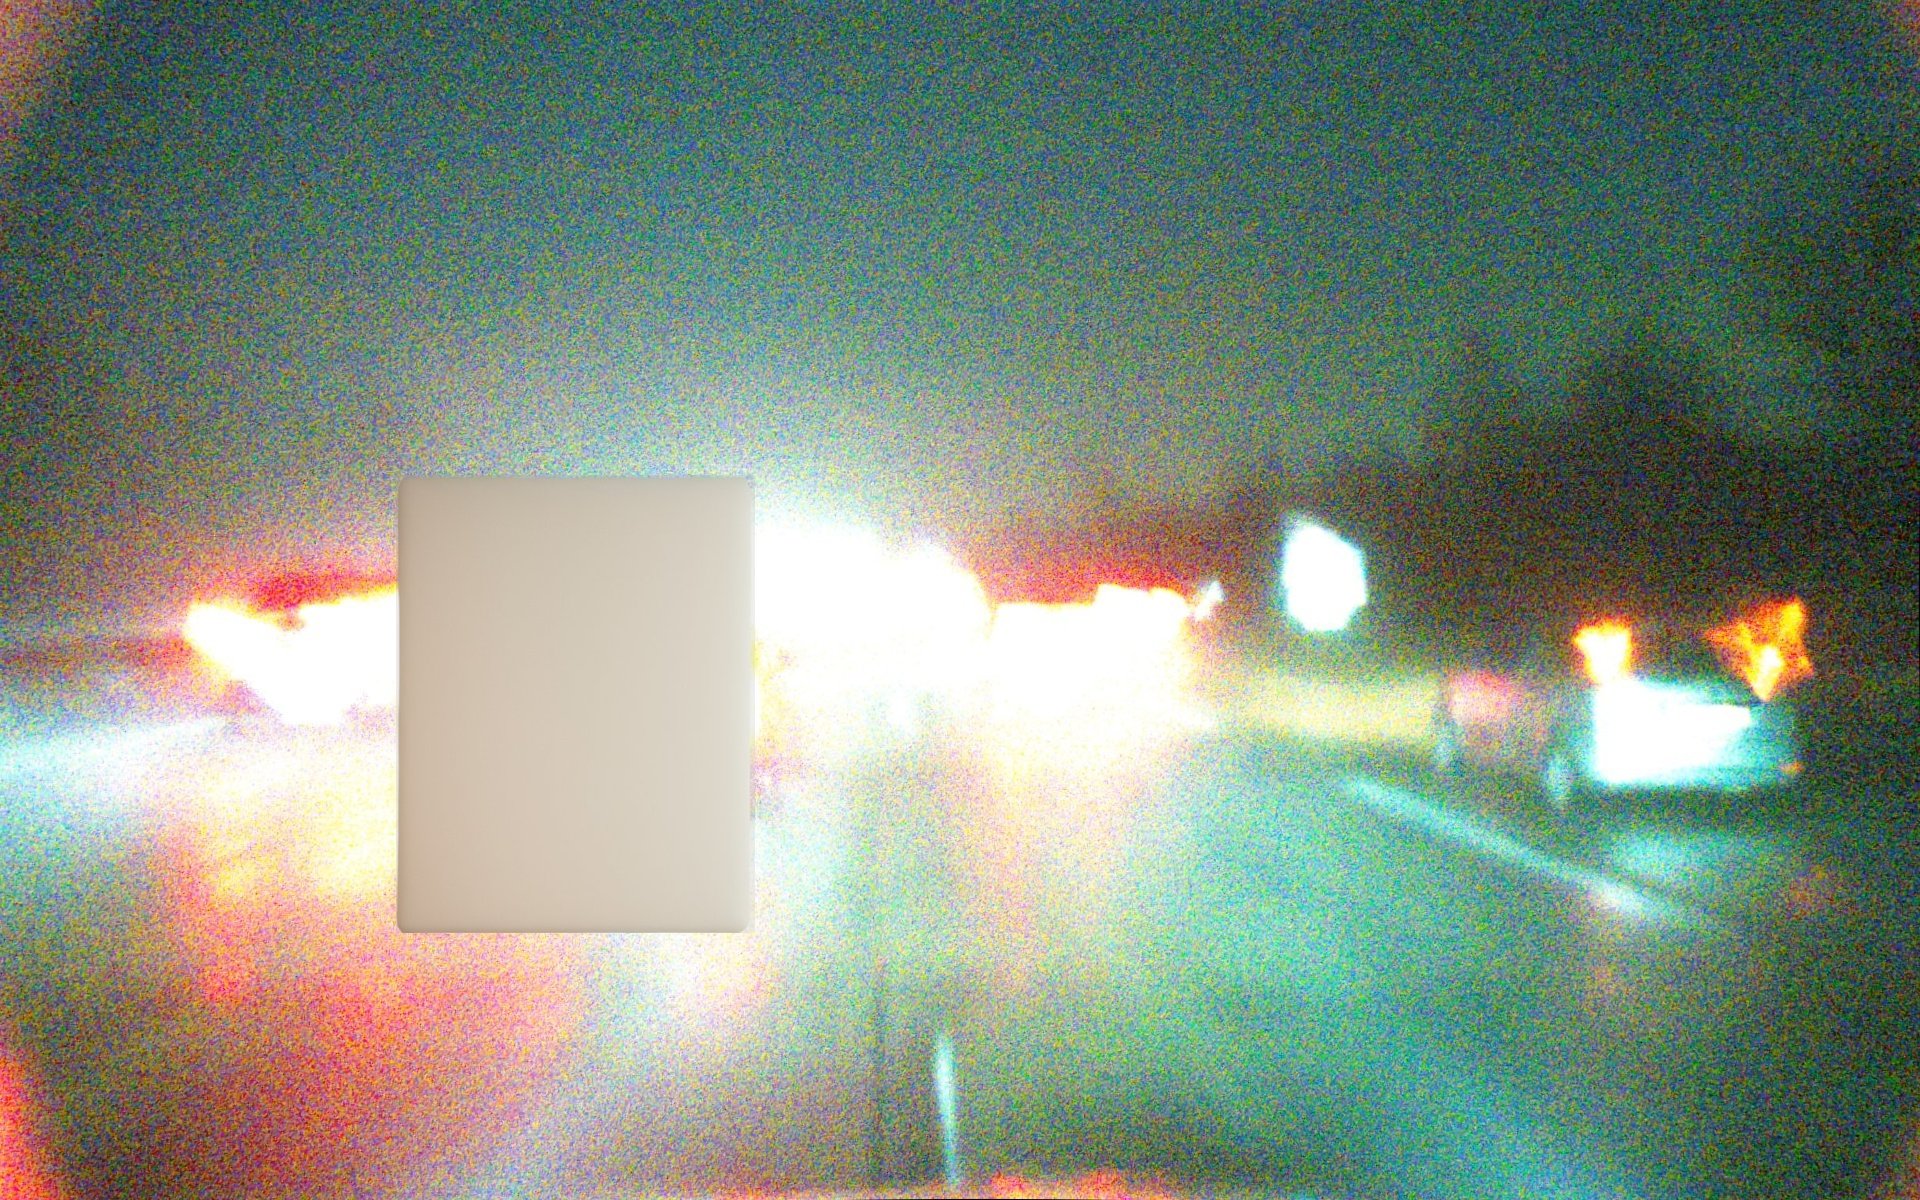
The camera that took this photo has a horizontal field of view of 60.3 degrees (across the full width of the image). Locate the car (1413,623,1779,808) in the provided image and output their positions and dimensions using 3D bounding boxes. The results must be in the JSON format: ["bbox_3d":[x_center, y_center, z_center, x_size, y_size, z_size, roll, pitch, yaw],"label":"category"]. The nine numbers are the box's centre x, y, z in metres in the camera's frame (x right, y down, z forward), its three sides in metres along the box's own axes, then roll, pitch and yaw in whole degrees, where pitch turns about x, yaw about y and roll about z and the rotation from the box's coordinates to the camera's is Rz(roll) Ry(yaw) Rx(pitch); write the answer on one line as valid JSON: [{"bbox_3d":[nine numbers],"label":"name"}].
[{"bbox_3d":[5.008,0.853,13.435,1.550,1.268,3.065,1,0,-6],"label":"car"}]

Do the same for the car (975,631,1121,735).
[{"bbox_3d":[1.164,1.111,23.025,1.550,1.268,3.065,1,0,-6],"label":"car"}]

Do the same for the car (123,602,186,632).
[{"bbox_3d":[-38.961,0.808,80.054,1.501,1.330,3.231,-3,0,-3],"label":"car"}]

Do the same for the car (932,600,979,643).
[{"bbox_3d":[-0.201,0.831,66.107,1.825,1.646,3.999,1,0,-1],"label":"car"}]

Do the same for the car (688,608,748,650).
[{"bbox_3d":[-7.906,0.920,54.296,1.629,1.258,3.758,-3,0,-4],"label":"car"}]

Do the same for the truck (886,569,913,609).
[{"bbox_3d":[-4.959,-0.862,135.850,1.953,3.095,6.463,-3,0,-1],"label":"truck"}]

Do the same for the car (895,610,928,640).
[{"bbox_3d":[-2.784,1.443,96.157,1.825,1.646,3.999,1,0,-1],"label":"car"}]

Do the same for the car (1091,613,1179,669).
[{"bbox_3d":[4.284,0.994,40.842,1.550,1.268,3.065,1,0,-6],"label":"car"}]

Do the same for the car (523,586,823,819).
[{"bbox_3d":[-2.049,0.671,12.867,1.765,1.513,3.998,1,0,-2],"label":"car"}]

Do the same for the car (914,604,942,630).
[{"bbox_3d":[-2.116,1.130,110.103,1.825,1.646,3.999,1,0,-1],"label":"car"}]

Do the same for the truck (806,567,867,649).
[{"bbox_3d":[-4.973,0.336,67.550,1.953,3.095,6.463,-3,0,-1],"label":"truck"}]

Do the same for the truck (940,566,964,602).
[{"bbox_3d":[-0.752,-1.401,147.871,1.953,3.095,6.463,-3,0,-1],"label":"truck"}]

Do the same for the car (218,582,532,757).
[{"bbox_3d":[-6.005,0.618,17.625,1.821,1.567,4.749,0,1,-2],"label":"car"}]
